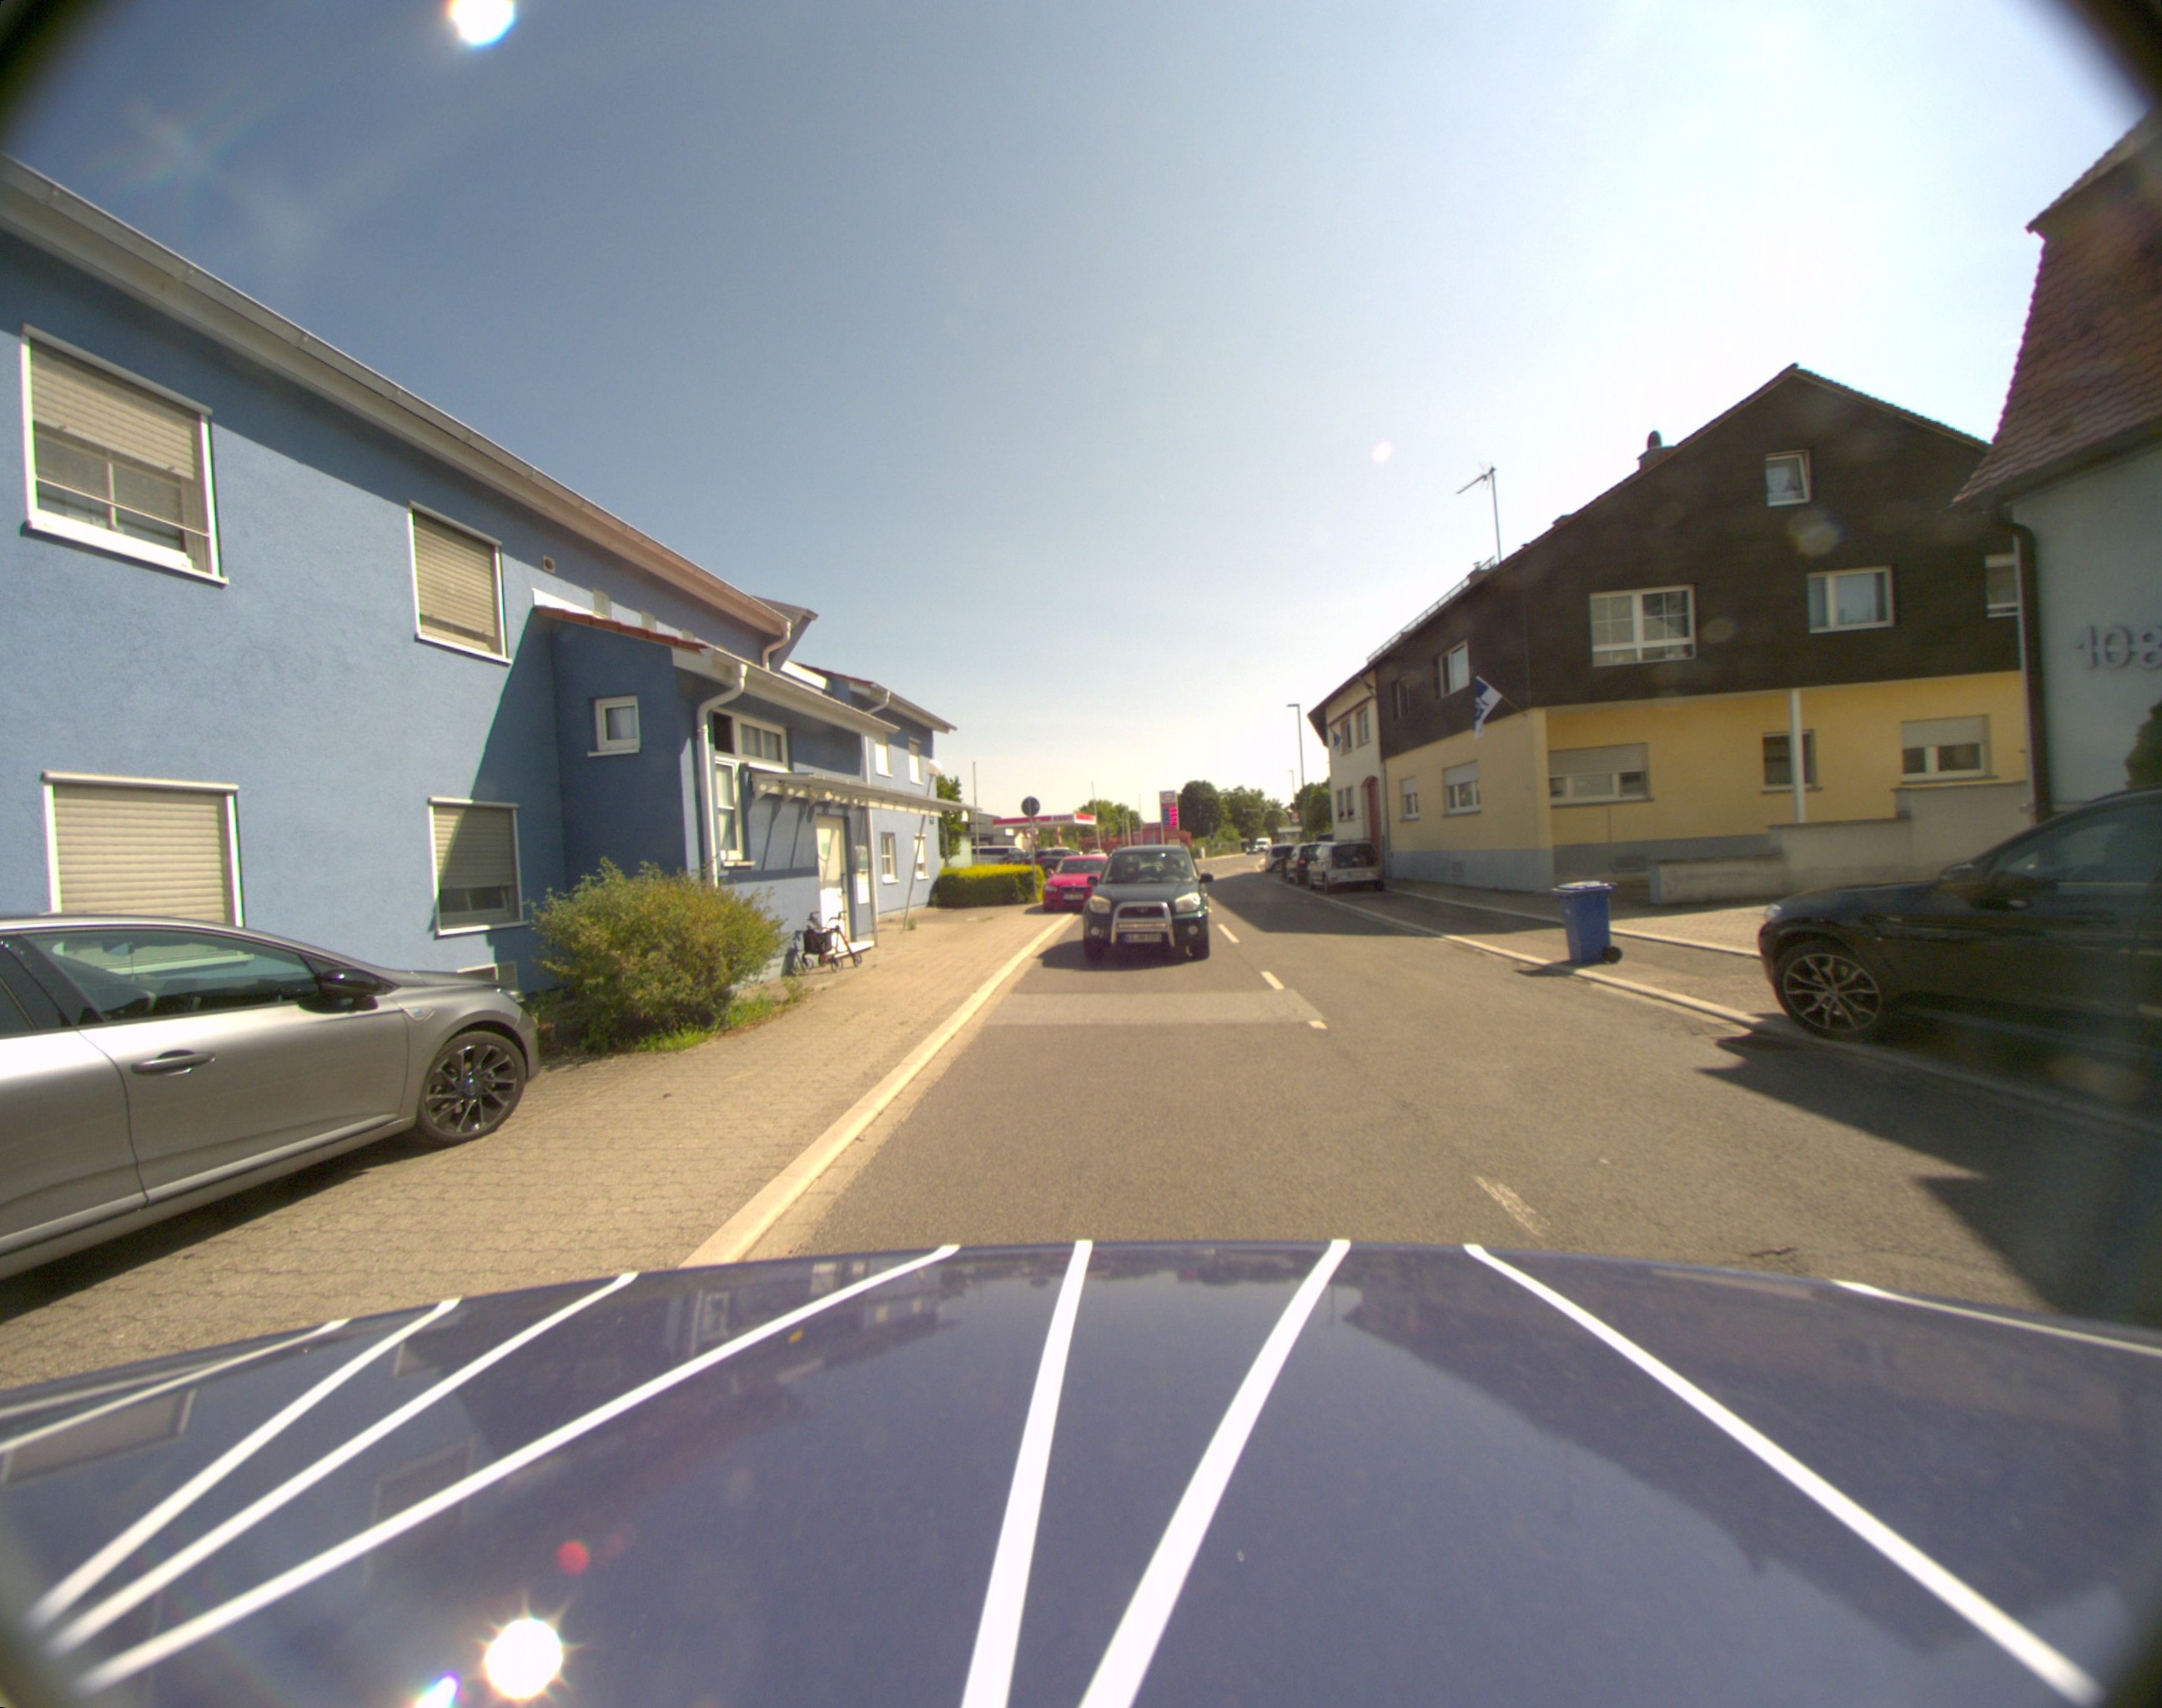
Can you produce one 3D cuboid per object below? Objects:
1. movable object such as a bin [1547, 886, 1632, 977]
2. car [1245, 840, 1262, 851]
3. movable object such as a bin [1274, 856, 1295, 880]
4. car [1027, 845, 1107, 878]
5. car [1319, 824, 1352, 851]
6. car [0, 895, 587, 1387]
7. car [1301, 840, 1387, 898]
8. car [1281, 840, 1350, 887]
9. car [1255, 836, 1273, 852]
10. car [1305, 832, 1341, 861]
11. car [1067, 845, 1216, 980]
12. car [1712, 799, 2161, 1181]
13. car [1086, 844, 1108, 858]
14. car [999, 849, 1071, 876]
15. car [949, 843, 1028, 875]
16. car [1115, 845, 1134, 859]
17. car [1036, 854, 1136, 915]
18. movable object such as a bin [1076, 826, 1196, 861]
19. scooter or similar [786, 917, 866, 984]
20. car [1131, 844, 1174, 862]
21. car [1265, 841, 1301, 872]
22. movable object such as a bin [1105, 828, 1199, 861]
[{"bbox_3d":[5.959,0.900,8.926,0.598,0.976,0.531,-4,1,4],"label":"movable object such as a bin"},{"bbox_3d":[25.919,-1.313,114.188,1.843,1.583,4.111,-2,1,22],"label":"car"},{"bbox_3d":[8.532,0.589,31.846,0.552,0.923,0.825,-7,0,2],"label":"movable object such as a bin"},{"bbox_3d":[-0.797,0.429,43.341,4.117,1.644,1.828,-3,1,-21],"label":"car"},{"bbox_3d":[22.088,-1.469,66.112,2.129,1.974,5.270,-8,0,15],"label":"car"},{"bbox_3d":[-4.334,1.063,2.995,1.693,1.412,4.146,-4,1,6],"label":"car"},{"bbox_3d":[7.898,0.384,23.123,1.644,1.492,3.783,-5,1,7],"label":"car"},{"bbox_3d":[8.554,0.305,28.026,1.682,1.429,3.997,-6,0,8],"label":"car"},{"bbox_3d":[30.276,-1.731,125.872,1.935,2.488,5.846,-2,1,22],"label":"car"},{"bbox_3d":[17.159,-0.583,53.763,1.839,1.782,4.349,-6,0,24],"label":"car"},{"bbox_3d":[1.080,0.766,11.936,1.847,1.686,4.401,-2,0,8],"label":"car"},{"bbox_3d":[5.868,0.583,3.690,1.924,1.658,4.666,-5,1,5],"label":"car"},{"bbox_3d":[1.985,-0.397,94.805,2.002,1.583,4.341,-3,1,10],"label":"car"},{"bbox_3d":[-3.072,0.545,50.537,4.321,1.541,1.981,-3,1,-21],"label":"car"},{"bbox_3d":[-6.556,0.327,53.569,5.287,2.002,2.230,-2,1,-10],"label":"car"},{"bbox_3d":[5.450,-0.212,94.476,1.844,1.583,4.108,-3,1,10],"label":"car"},{"bbox_3d":[0.253,0.829,20.962,1.735,1.485,4.361,-1,-2,14],"label":"car"},{"bbox_3d":[7.549,-1.440,104.511,16.074,3.995,2.776,-3,1,15],"label":"movable object such as a bin"},{"bbox_3d":[-3.563,1.337,10.673,0.729,0.810,0.828,-3,1,10],"label":"scooter or similar"},{"bbox_3d":[6.893,-0.087,73.880,1.777,1.546,4.172,-3,1,-35],"label":"car"},{"bbox_3d":[10.723,0.087,40.518,1.686,1.453,3.652,-4,1,13],"label":"car"},{"bbox_3d":[10.396,-1.406,111.940,13.272,4.141,2.866,-3,1,15],"label":"movable object such as a bin"}]
